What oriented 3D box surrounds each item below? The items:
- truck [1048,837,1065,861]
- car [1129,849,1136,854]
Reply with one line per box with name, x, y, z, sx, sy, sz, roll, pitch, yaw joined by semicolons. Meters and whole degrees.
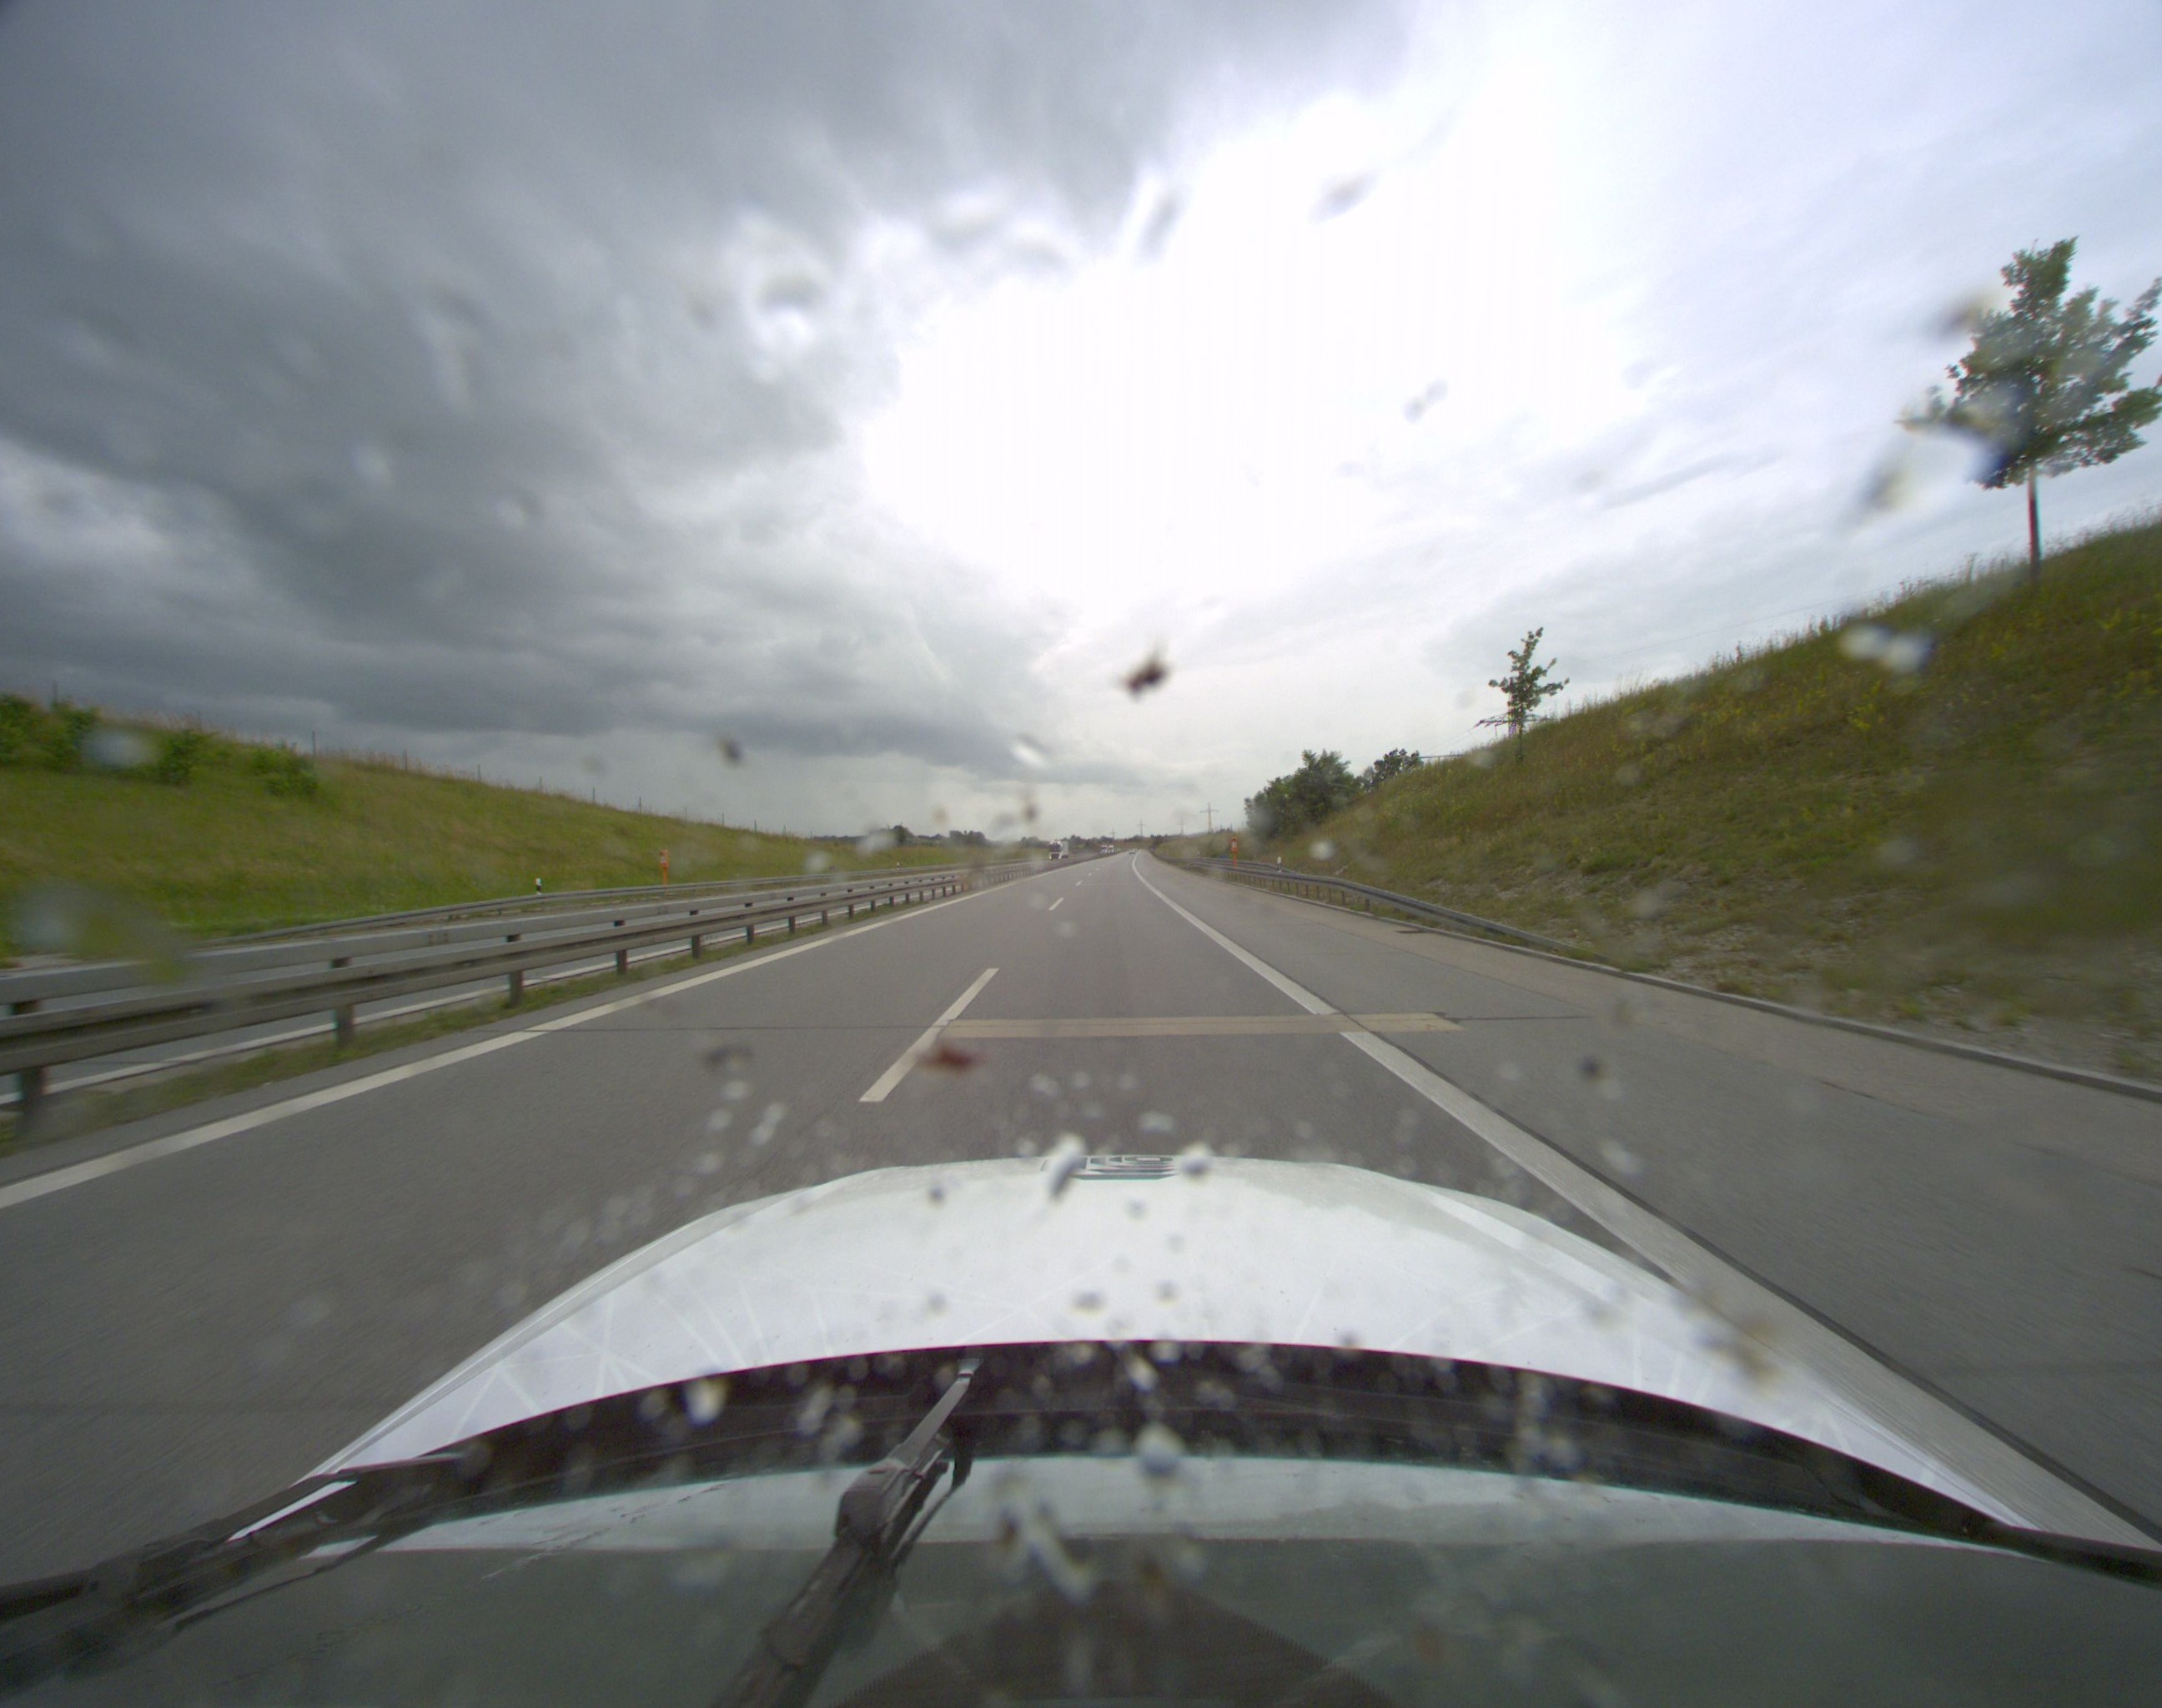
truck;-4.896;-1.062;165.513;2.783;4.647;6.926;-2;0;3
car;16.329;-0.849;257.586;1.947;1.651;4.006;-2;-1;6
